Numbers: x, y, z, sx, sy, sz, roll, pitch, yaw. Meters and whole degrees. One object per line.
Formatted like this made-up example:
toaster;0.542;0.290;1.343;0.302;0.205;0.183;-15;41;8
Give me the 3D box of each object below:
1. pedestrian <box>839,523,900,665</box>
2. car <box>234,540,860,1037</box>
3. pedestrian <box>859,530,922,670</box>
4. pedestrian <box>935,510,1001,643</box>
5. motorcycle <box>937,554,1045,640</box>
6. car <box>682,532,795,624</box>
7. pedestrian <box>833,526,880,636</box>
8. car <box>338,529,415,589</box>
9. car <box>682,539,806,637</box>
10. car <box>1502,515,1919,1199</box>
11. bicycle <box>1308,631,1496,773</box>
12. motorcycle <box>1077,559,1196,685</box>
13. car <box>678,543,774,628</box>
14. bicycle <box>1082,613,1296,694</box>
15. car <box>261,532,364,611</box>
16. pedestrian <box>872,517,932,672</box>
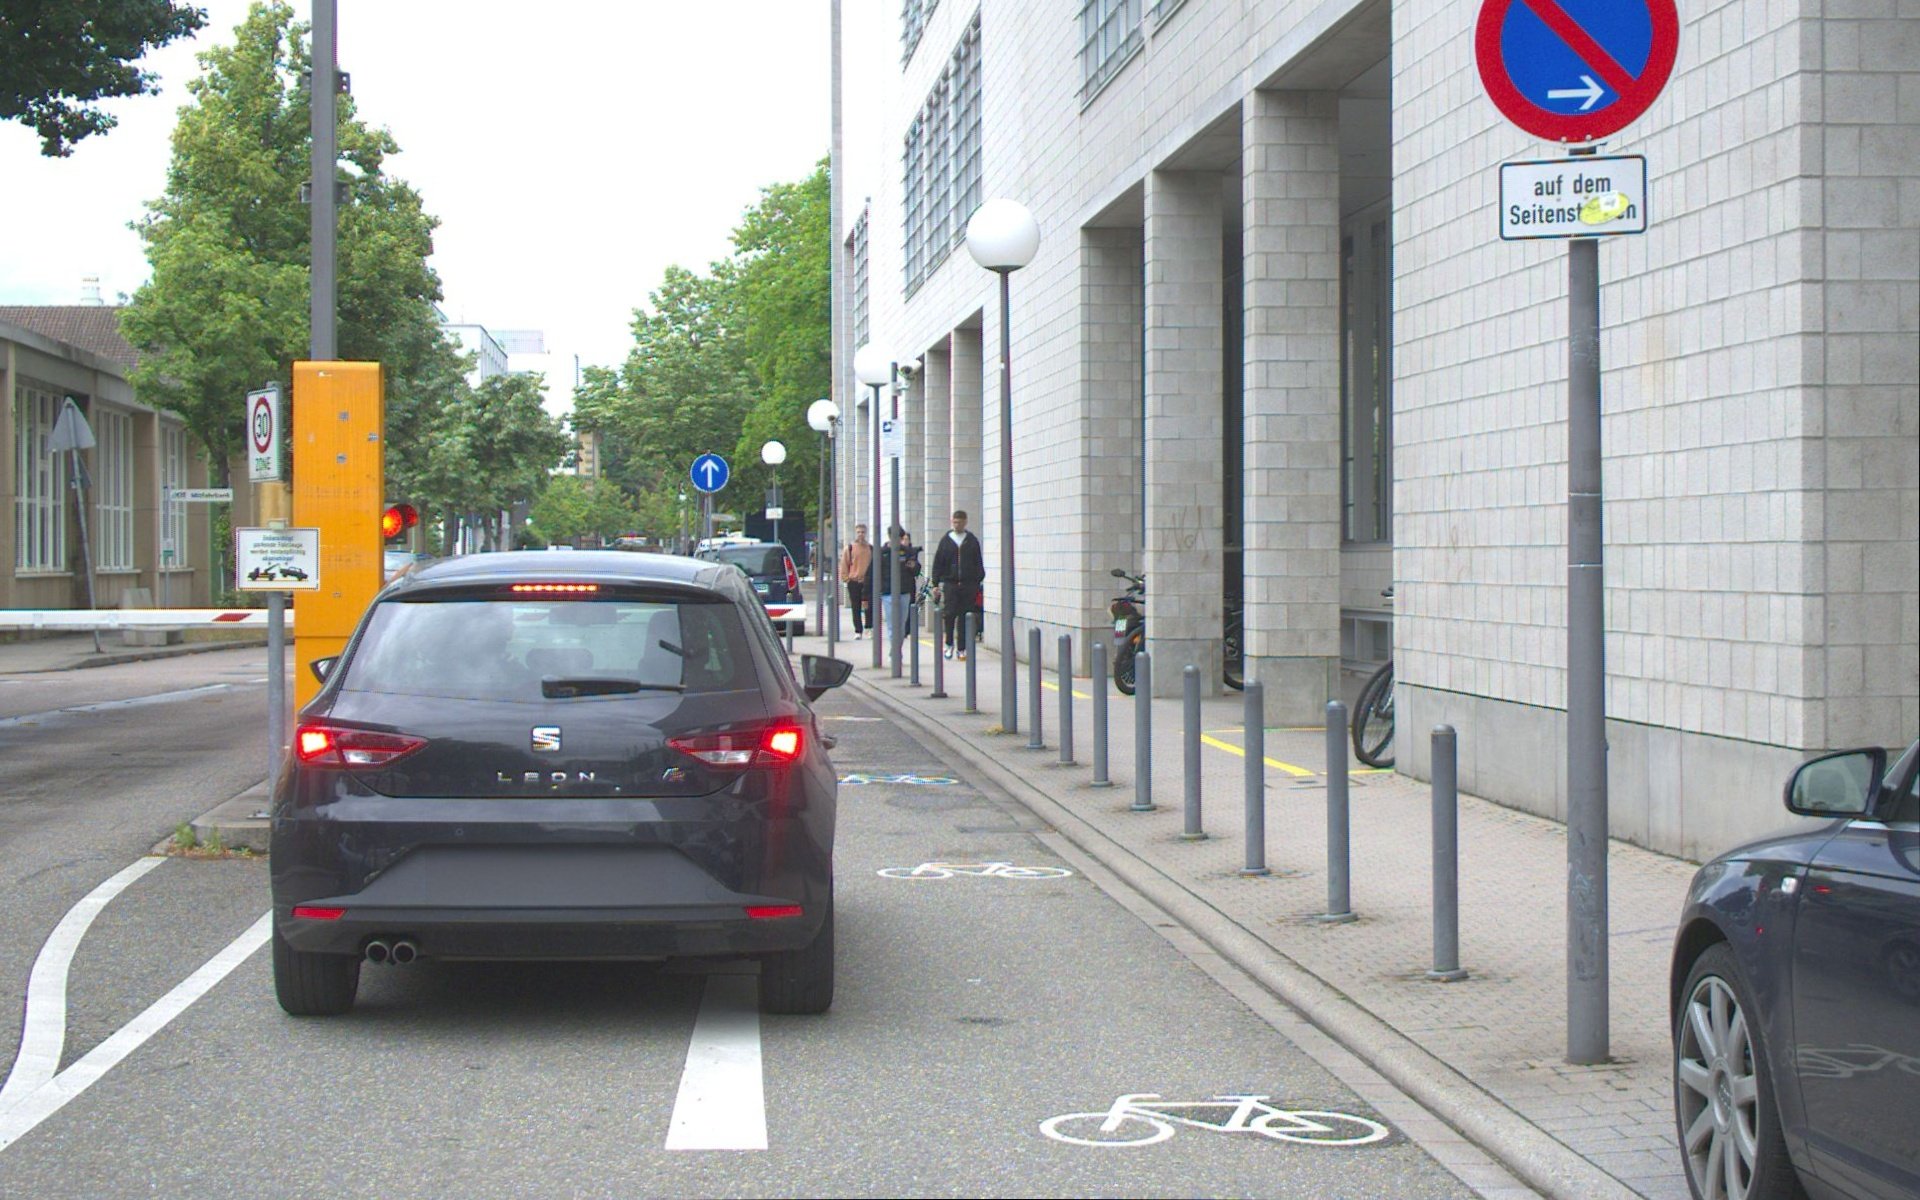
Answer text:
pedestrian;-1.103;-0.076;41.738;0.696;1.708;0.489;1;1;-4
car;-1.379;0.512;11.973;1.782;1.414;4.130;0;1;-5
pedestrian;-0.860;-0.005;42.328;0.689;1.693;0.588;1;3;-6
pedestrian;0.107;-0.309;44.589;0.727;1.693;0.588;1;3;-10
motorcycle;0.486;-0.065;51.572;0.760;1.144;2.660;2;3;20
car;-4.203;-0.441;64.646;1.993;1.617;4.429;-2;1;-5
pedestrian;-1.616;-0.305;53.766;0.696;1.708;0.489;1;1;-1
car;-15.934;-1.140;94.086;1.770;1.595;4.001;0;1;-5
car;-3.818;-0.217;60.134;1.993;1.617;4.429;-1;0;-6
car;2.501;0.580;5.894;1.993;1.447;4.923;0;1;-5
bicycle;2.824;0.628;21.790;0.463;0.749;2.292;-4;0;25
motorcycle;1.813;0.202;34.969;0.566;1.144;2.215;2;3;20
car;-5.229;-0.353;76.419;1.993;1.776;4.429;-2;1;-5
bicycle;2.119;0.492;31.875;1.896;0.696;0.493;1;3;-8
car;-13.425;-0.615;71.423;1.770;1.595;4.001;0;1;-6
pedestrian;-0.648;-0.063;38.280;0.611;1.708;0.575;-1;1;-4
